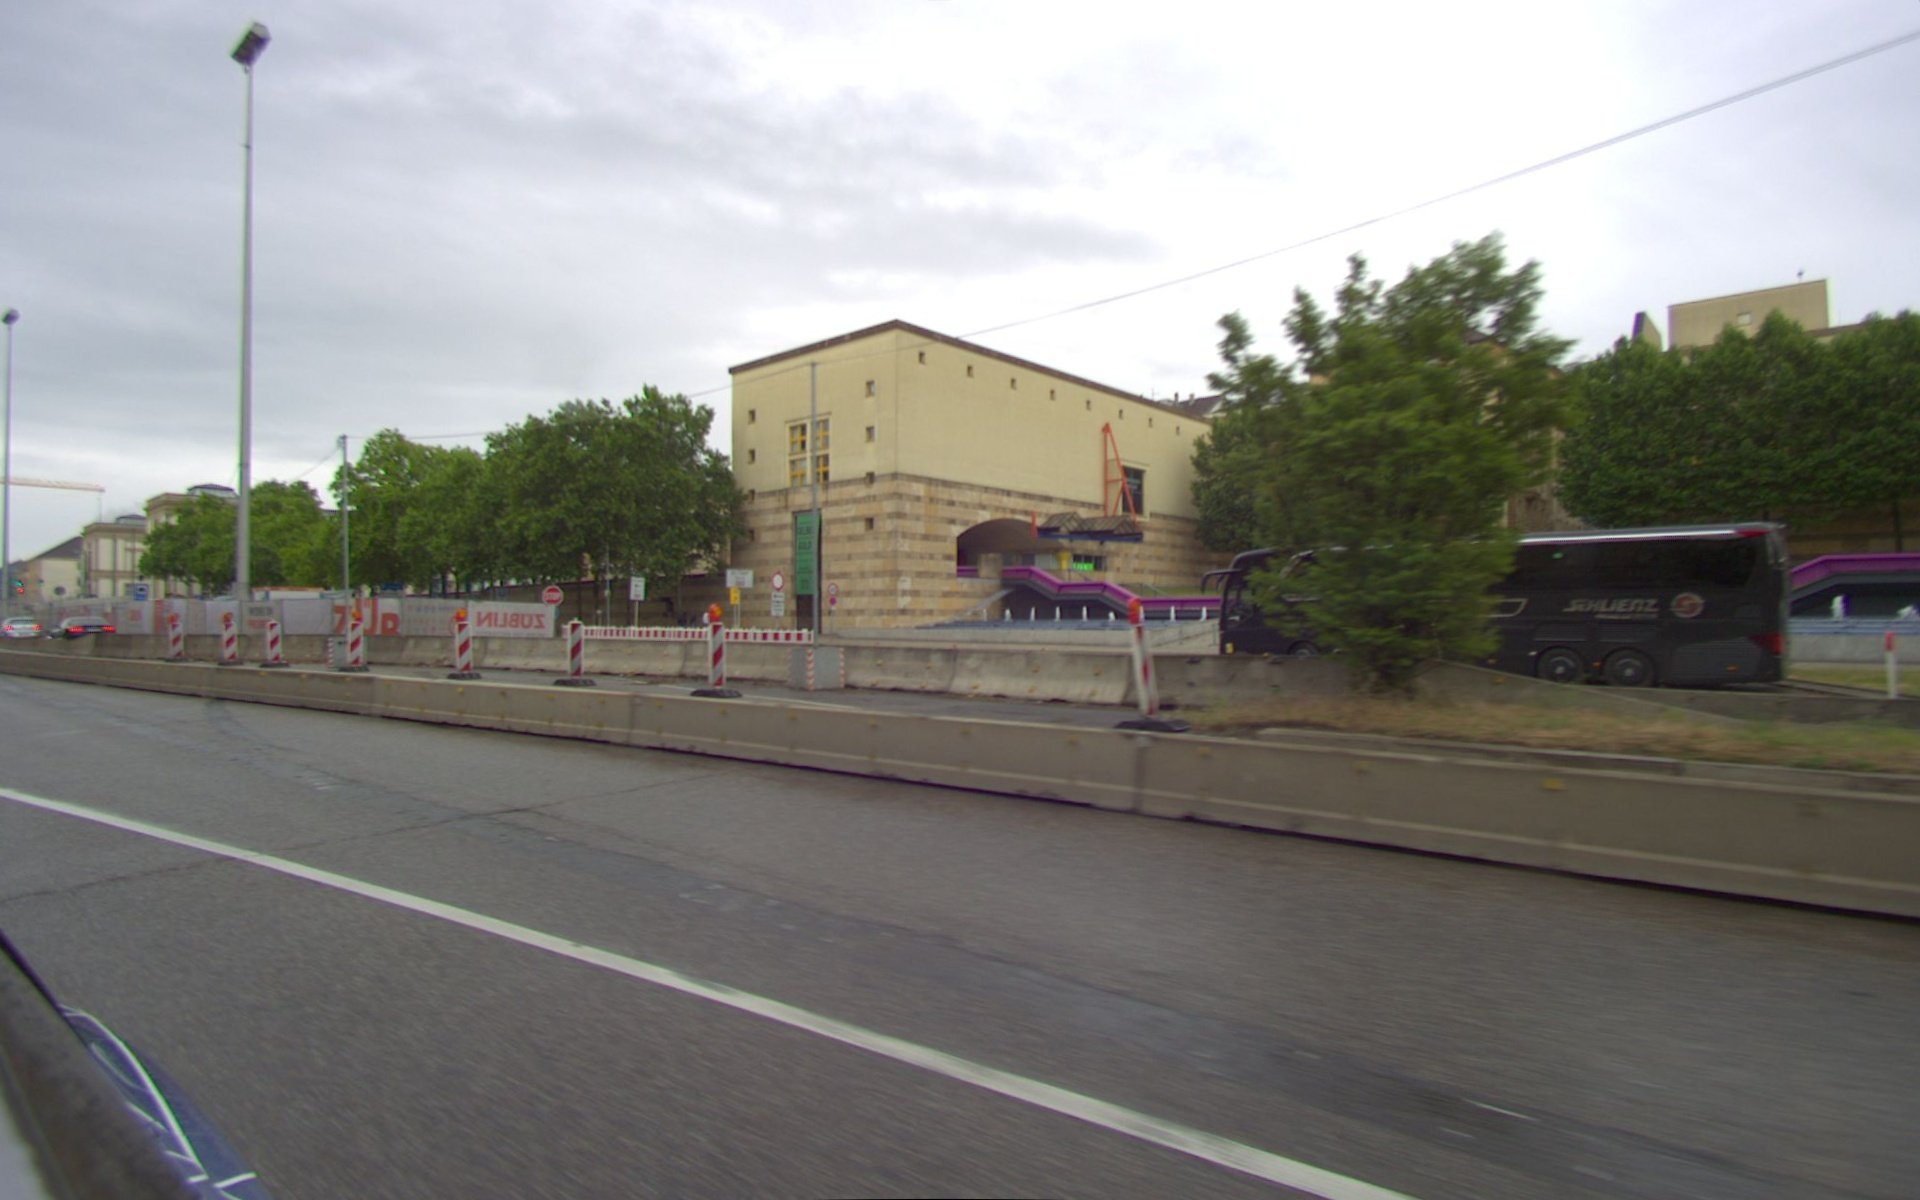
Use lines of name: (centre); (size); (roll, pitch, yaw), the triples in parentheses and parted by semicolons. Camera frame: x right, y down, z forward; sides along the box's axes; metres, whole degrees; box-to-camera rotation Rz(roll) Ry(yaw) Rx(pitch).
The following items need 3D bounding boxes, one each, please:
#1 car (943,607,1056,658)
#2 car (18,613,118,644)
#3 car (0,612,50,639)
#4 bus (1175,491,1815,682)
car: (1.206, 1.007, 31.590); (3.210, 1.512, 1.576); (-1, -3, 38)
car: (-40.092, 1.280, 45.473); (4.743, 1.272, 1.764); (-1, 0, 27)
car: (-55.915, 1.498, 59.985); (3.988, 1.541, 1.977); (-1, -1, 33)
bus: (12.683, -0.196, 26.479); (14.603, 3.840, 2.772); (-1, 0, 45)
